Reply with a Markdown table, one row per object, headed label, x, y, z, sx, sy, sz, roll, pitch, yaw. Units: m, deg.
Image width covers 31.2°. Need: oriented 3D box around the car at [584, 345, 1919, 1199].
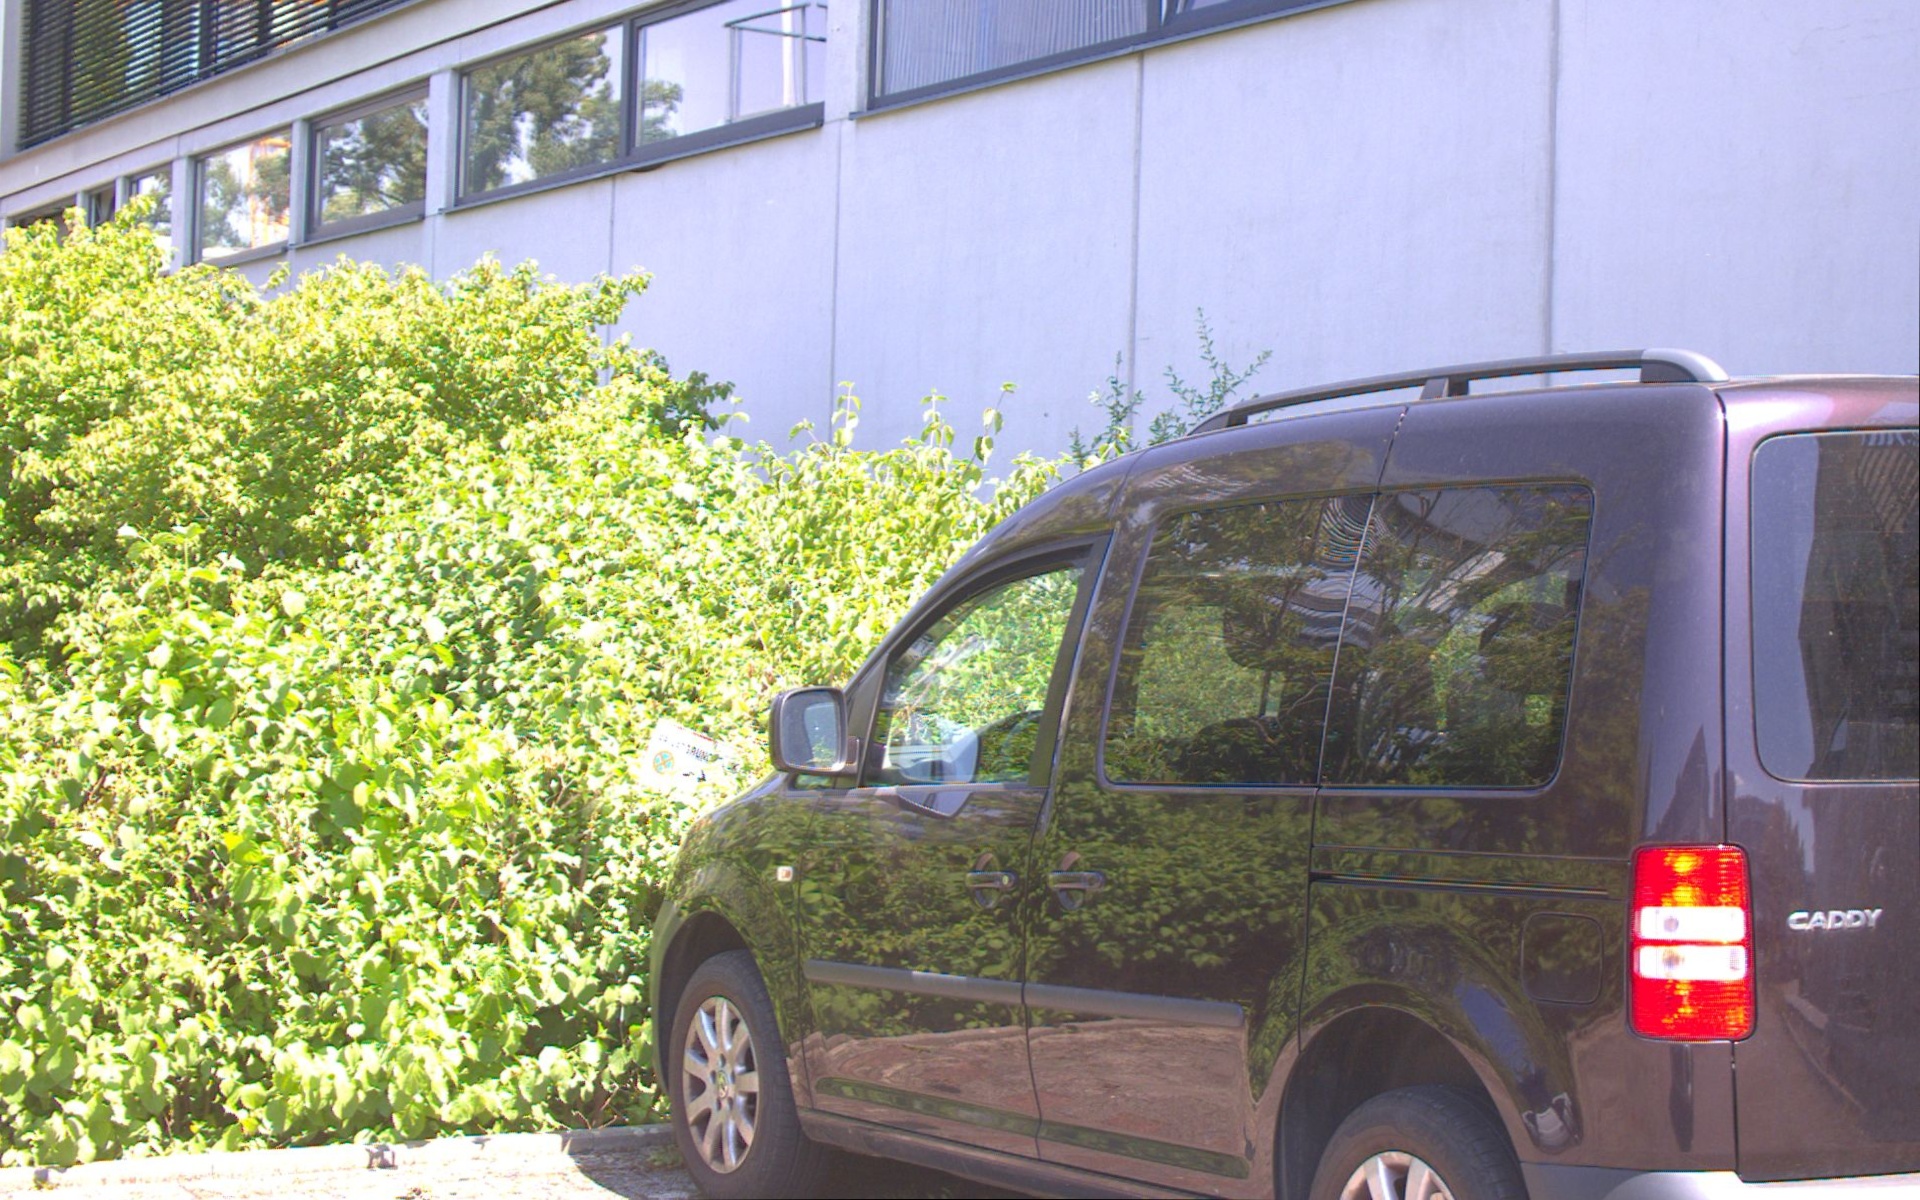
| label | x | y | z | sx | sy | sz | roll | pitch | yaw |
| --- | --- | --- | --- | --- | --- | --- | --- | --- | --- |
| car | 0.859 | 0.536 | 7.134 | 1.743 | 1.831 | 4.000 | 0 | 0 | -31 |
